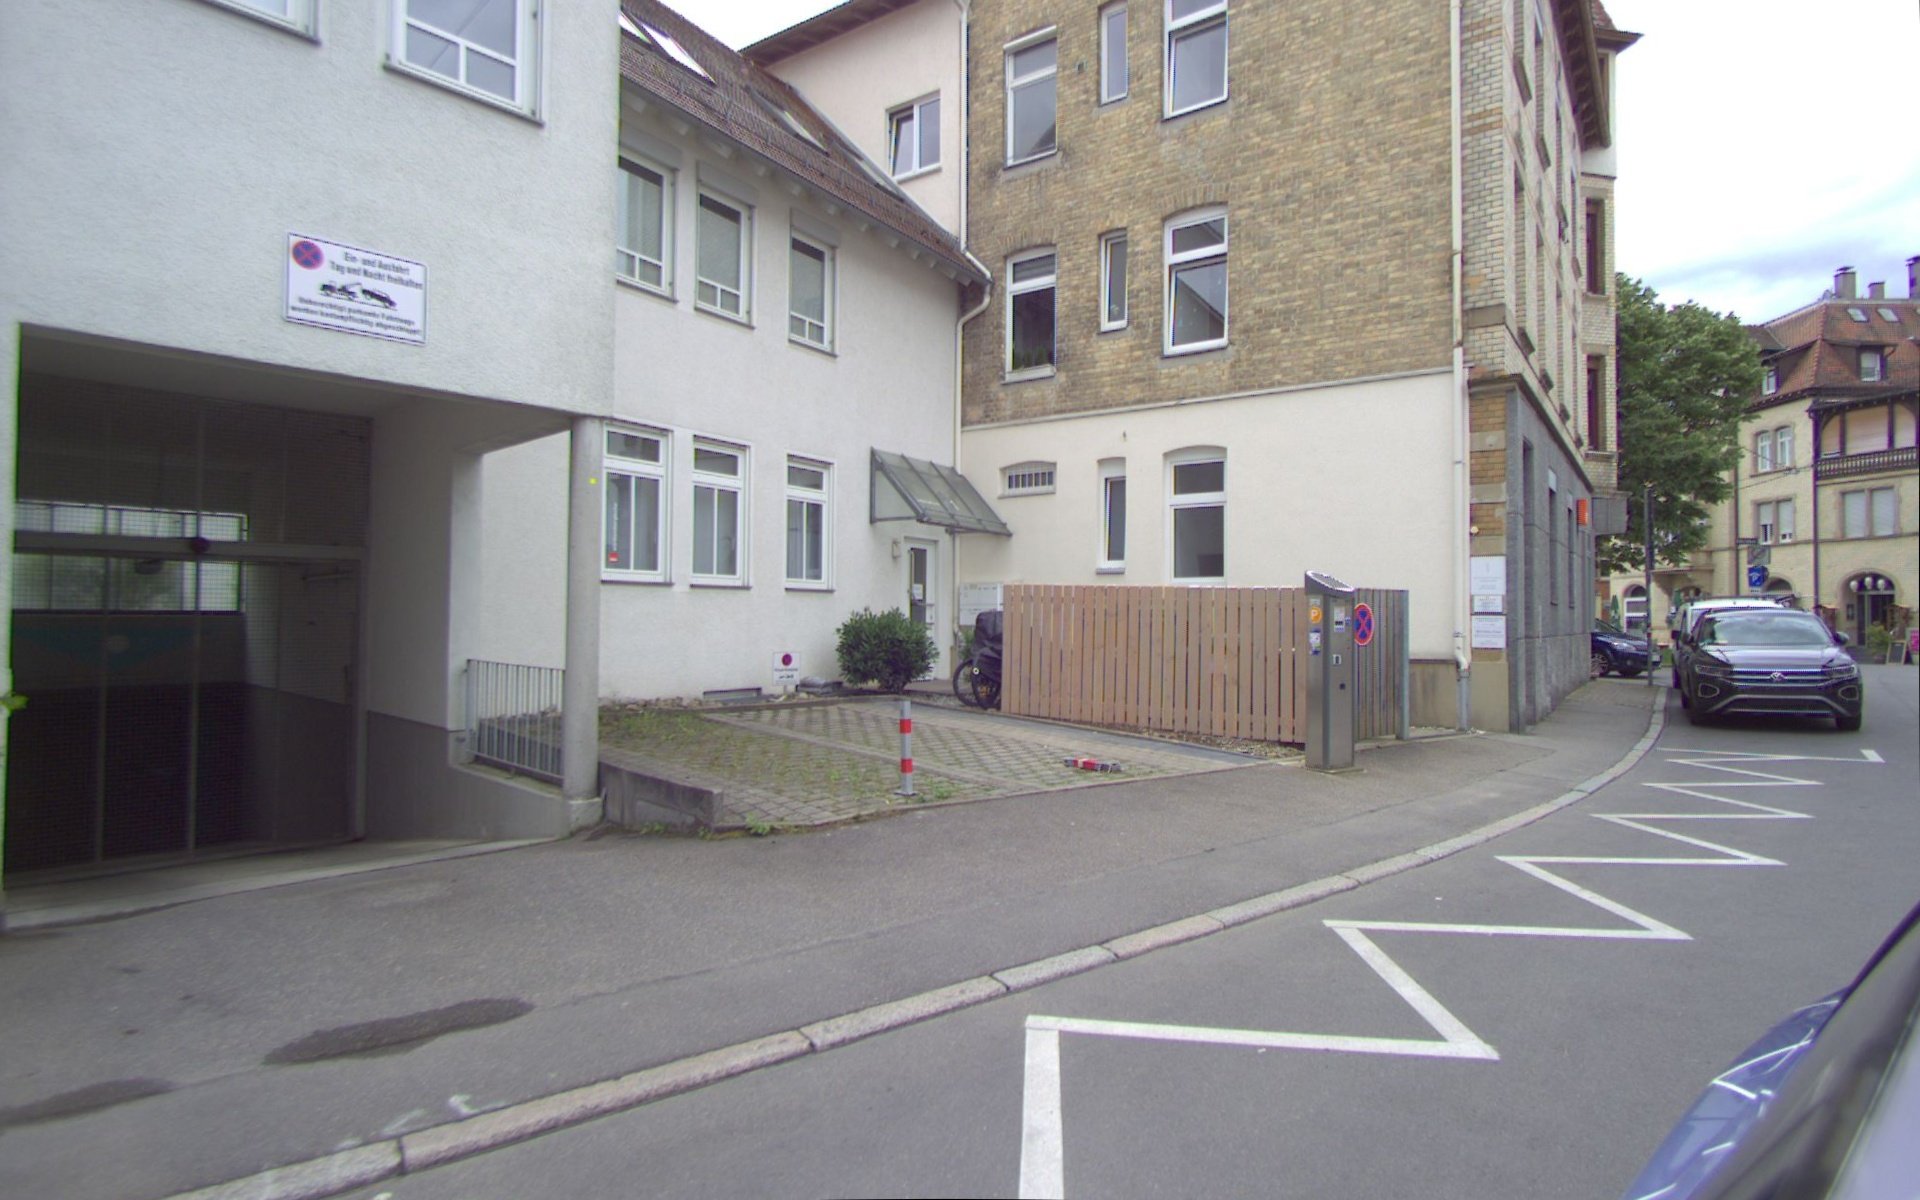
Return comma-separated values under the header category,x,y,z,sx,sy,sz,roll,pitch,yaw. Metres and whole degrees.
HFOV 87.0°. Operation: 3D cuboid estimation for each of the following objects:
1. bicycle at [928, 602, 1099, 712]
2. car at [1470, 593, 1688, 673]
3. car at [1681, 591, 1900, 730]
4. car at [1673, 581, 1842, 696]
category,x,y,z,sx,sy,sz,roll,pitch,yaw
bicycle,0.702,0.687,12.672,2.065,1.234,0.960,3,0,-44
car,14.638,0.760,24.150,1.825,1.726,4.026,-1,-1,-29
car,11.450,0.738,14.267,1.780,1.621,4.489,-1,-1,32
car,14.208,0.657,18.272,1.817,1.815,4.171,-1,-2,31
